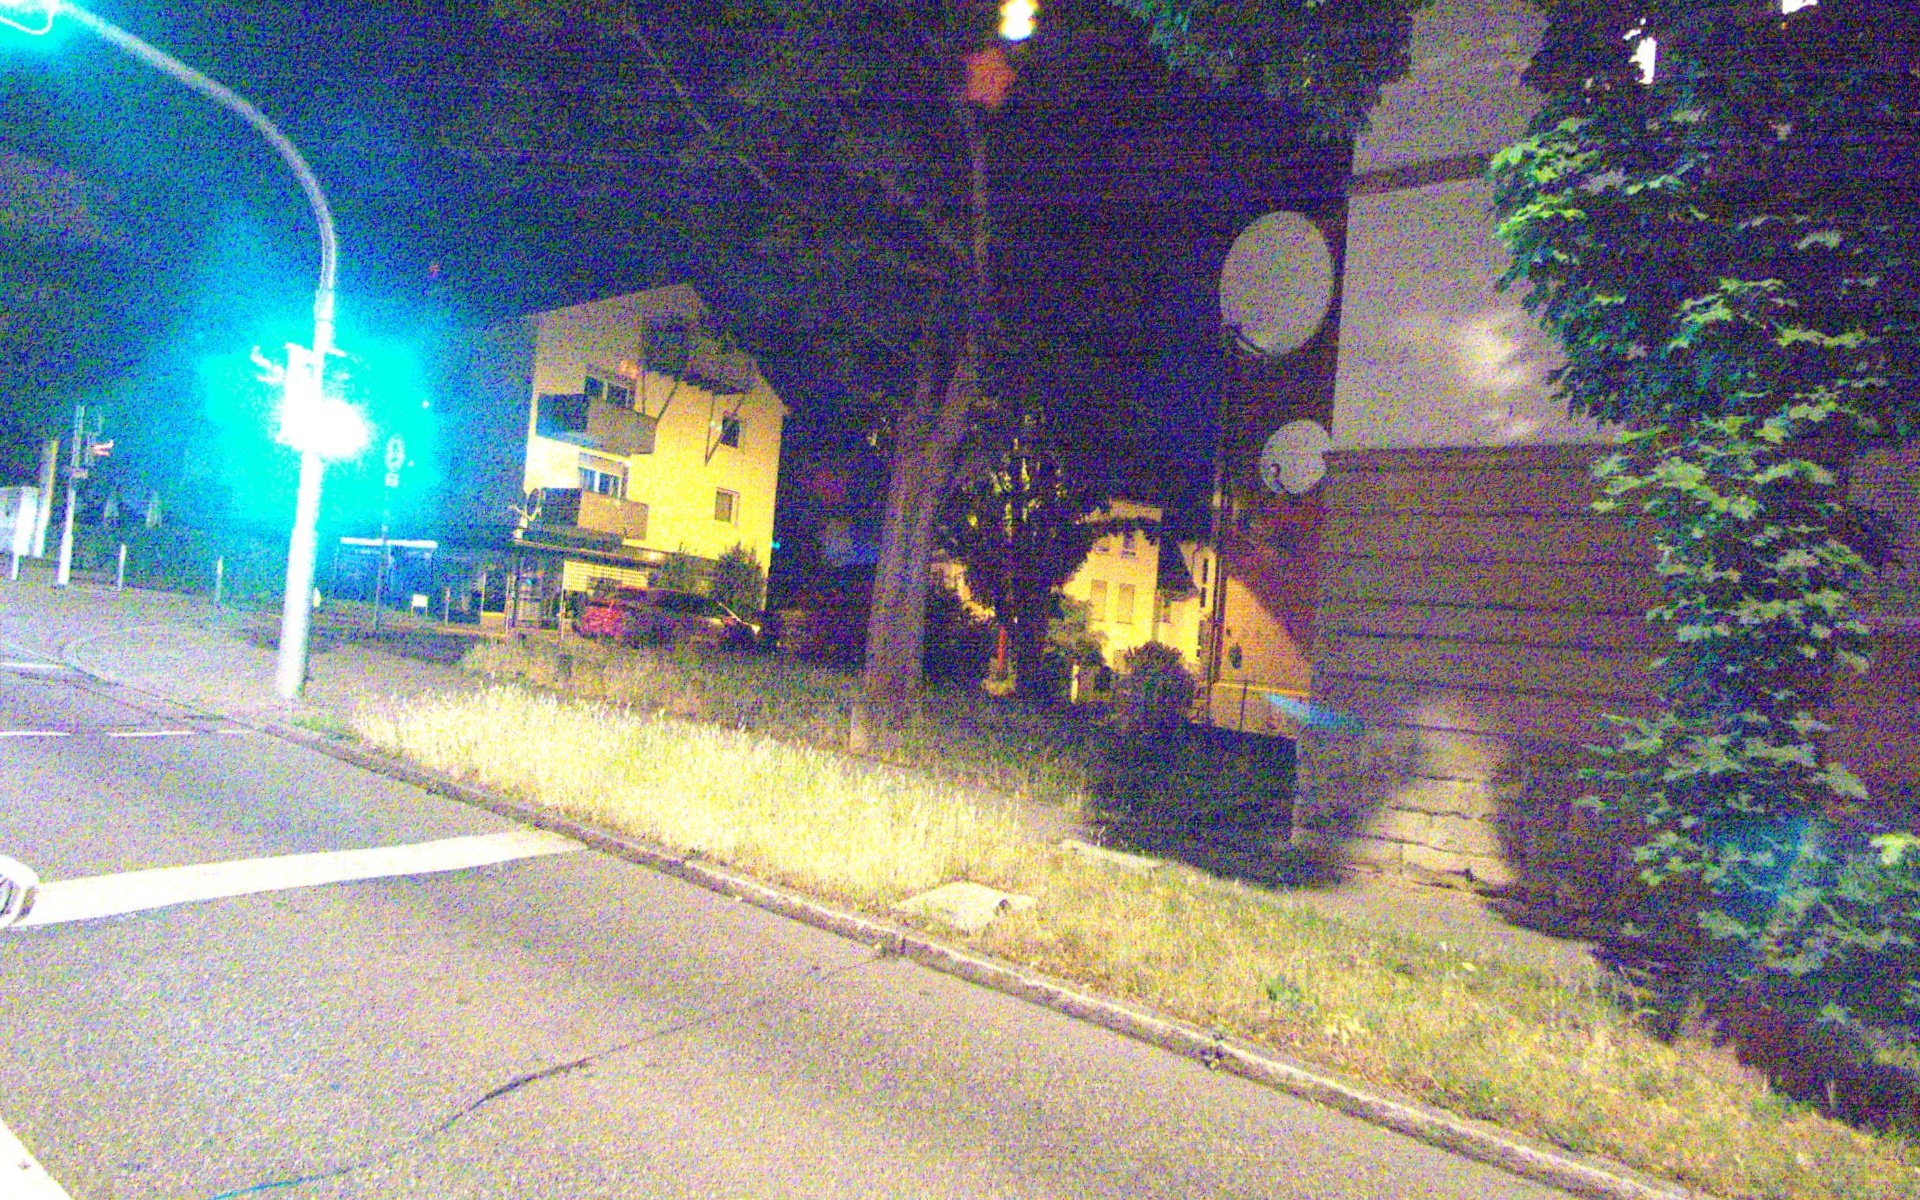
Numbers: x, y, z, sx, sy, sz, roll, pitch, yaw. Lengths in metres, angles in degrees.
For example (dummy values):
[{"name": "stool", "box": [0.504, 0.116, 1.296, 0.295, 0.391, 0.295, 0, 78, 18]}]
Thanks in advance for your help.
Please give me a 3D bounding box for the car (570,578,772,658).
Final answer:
[{"name": "car", "box": [-6.551, 0.454, 23.181, 1.740, 1.295, 4.131, 6, -3, 39]}]
